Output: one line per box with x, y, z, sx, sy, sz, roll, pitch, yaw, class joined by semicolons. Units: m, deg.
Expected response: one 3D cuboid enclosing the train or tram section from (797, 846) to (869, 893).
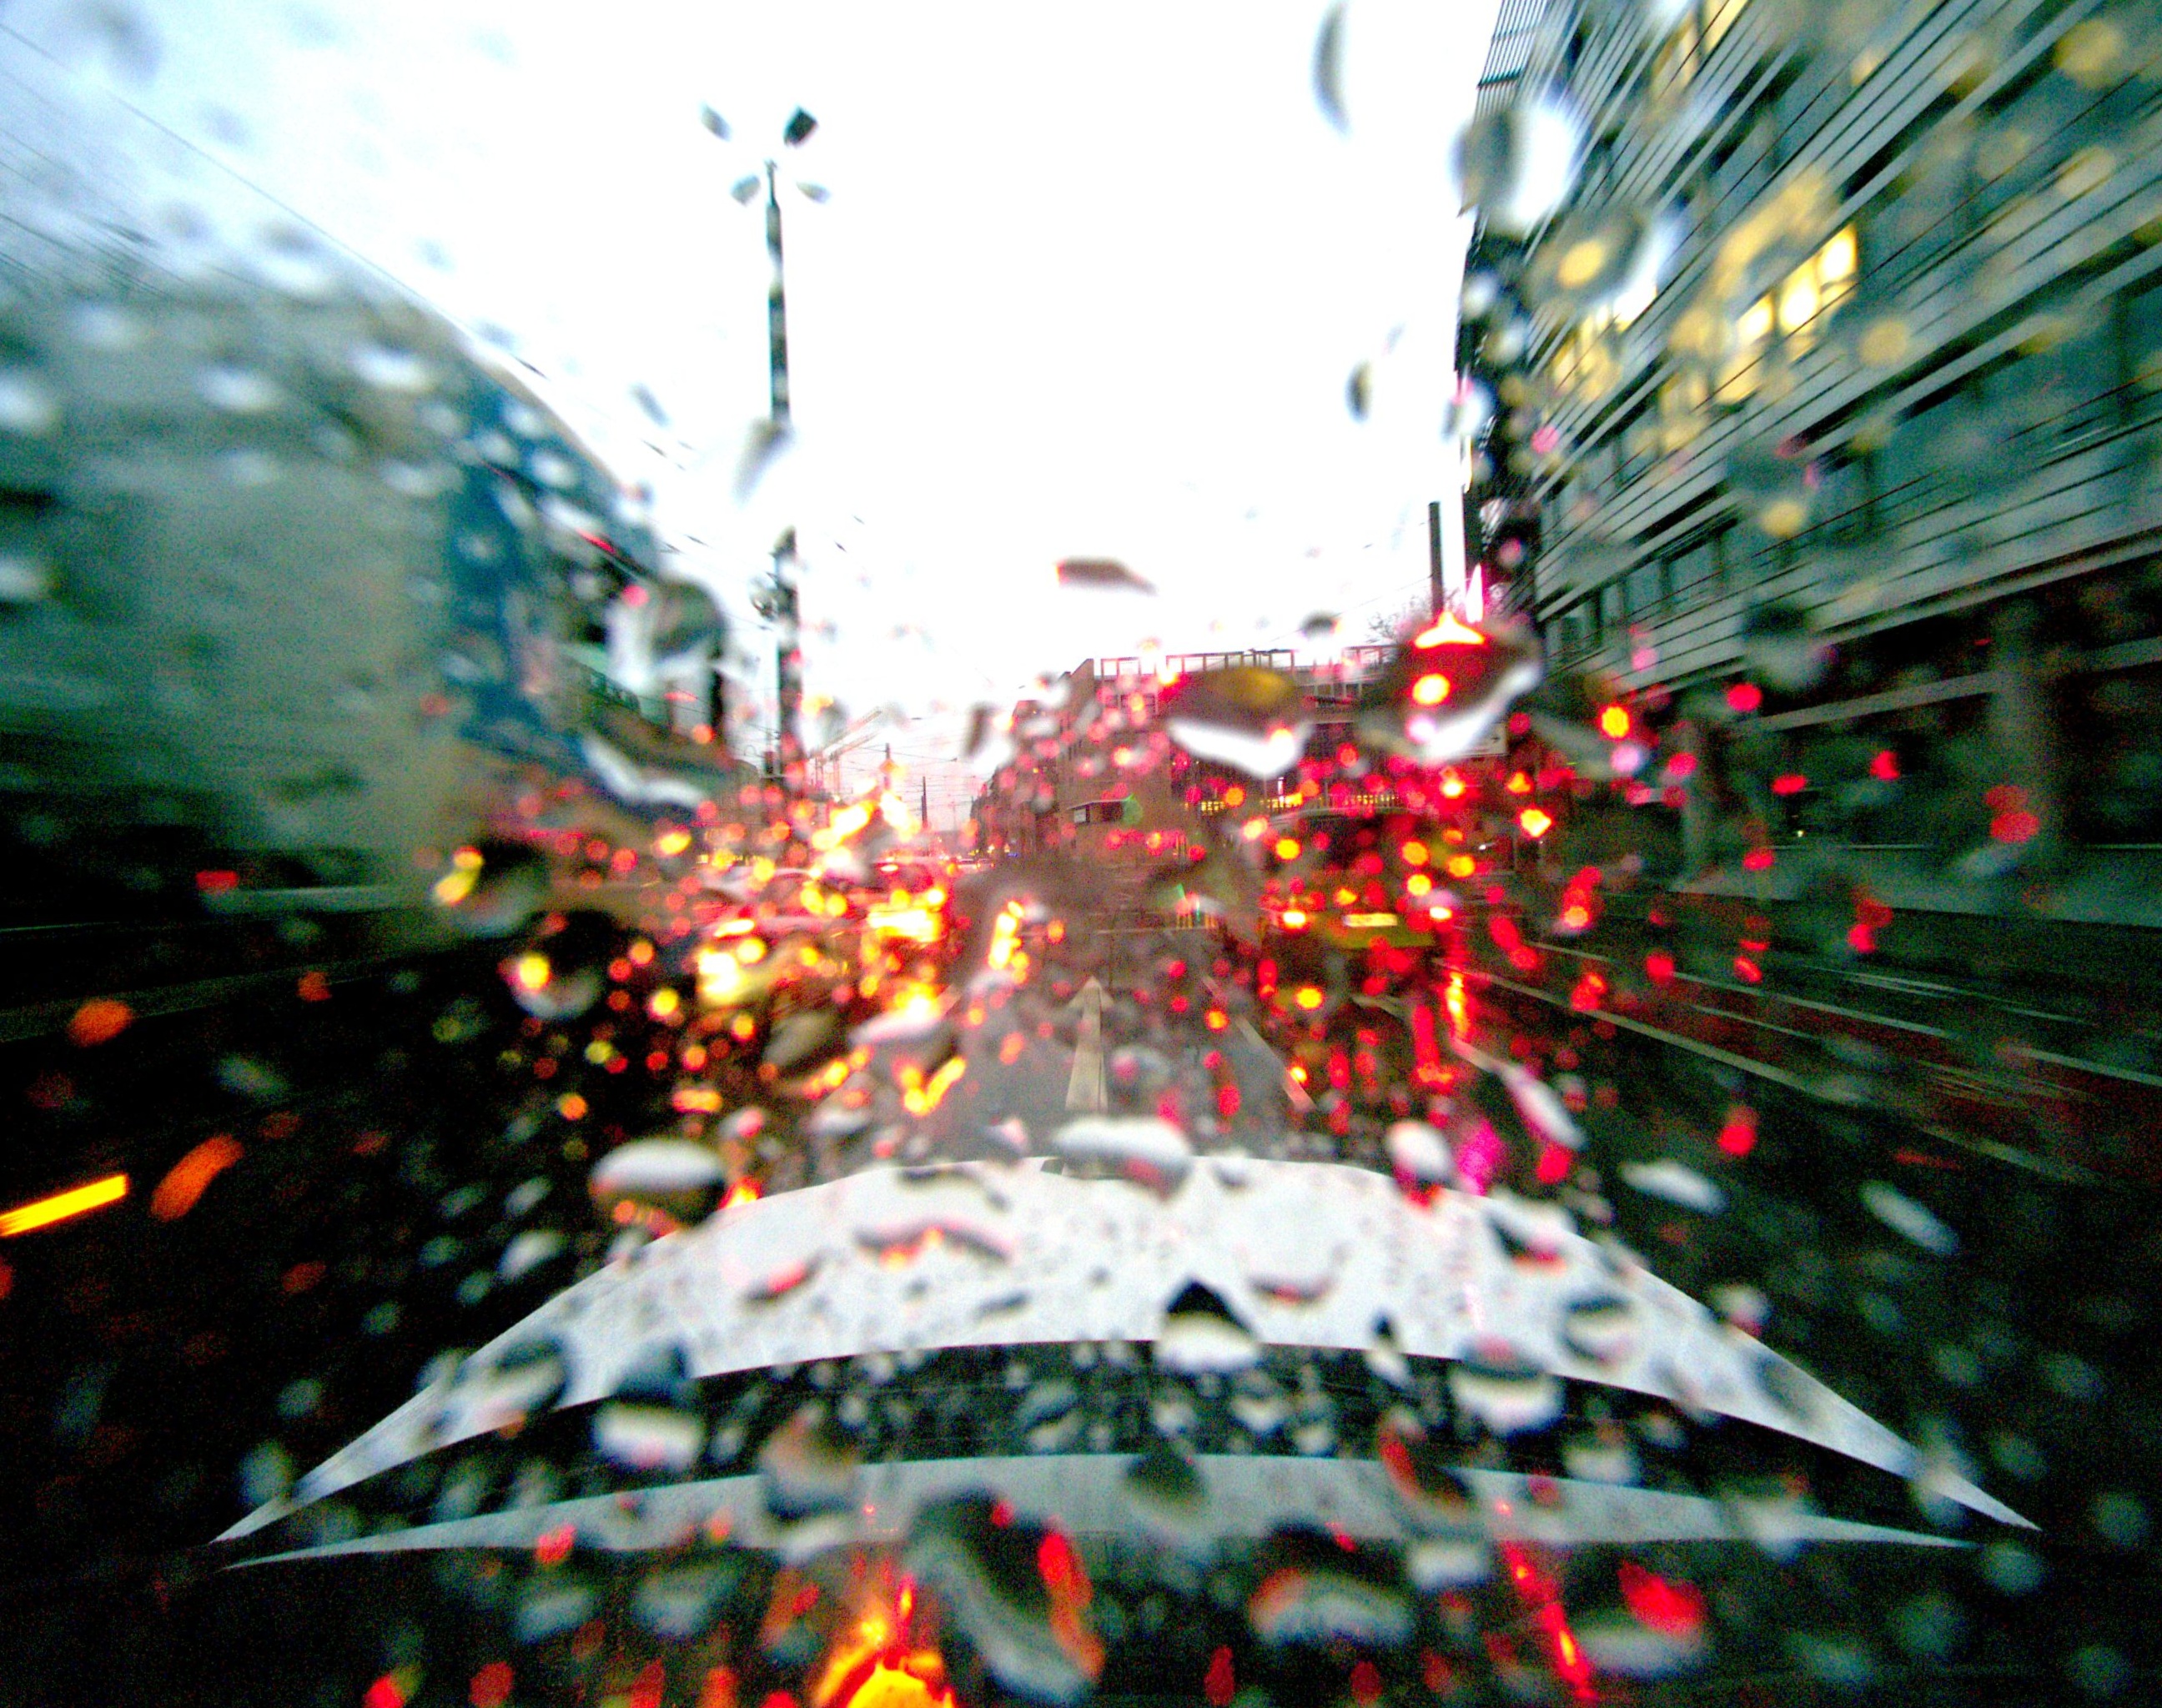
-22.275;1.272;74.571;2.862;3.614;20.017;-3;0;-8;train or tram section

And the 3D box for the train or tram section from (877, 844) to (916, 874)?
-24.501;0.649;109.630;3.190;3.436;27.741;-2;0;-9;train or tram section

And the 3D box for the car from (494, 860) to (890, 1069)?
-3.188;0.786;7.691;1.699;1.448;4.002;0;0;2;car

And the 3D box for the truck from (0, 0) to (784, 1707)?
-2.983;-0.224;0.404;2.830;3.633;7.524;-2;0;-1;truck

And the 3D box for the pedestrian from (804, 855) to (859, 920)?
-6.480;0.862;21.169;0.707;1.601;1.043;-5;-1;42;pedestrian

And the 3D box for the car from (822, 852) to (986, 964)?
-2.641;0.735;13.031;1.692;1.459;3.758;-2;0;1;car

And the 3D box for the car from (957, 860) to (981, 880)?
-9.248;1.300;67.271;1.870;1.578;3.987;0;0;-9;car

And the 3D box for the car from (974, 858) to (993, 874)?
-9.957;1.209;82.873;1.869;1.578;3.990;0;0;-8;car

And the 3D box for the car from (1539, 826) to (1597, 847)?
43.219;-1.552;72.325;3.981;1.691;2.009;-2;0;17;car

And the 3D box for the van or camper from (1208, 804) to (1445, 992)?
2.862;0.440;10.562;1.751;1.906;4.418;-1;0;0;van or camper
